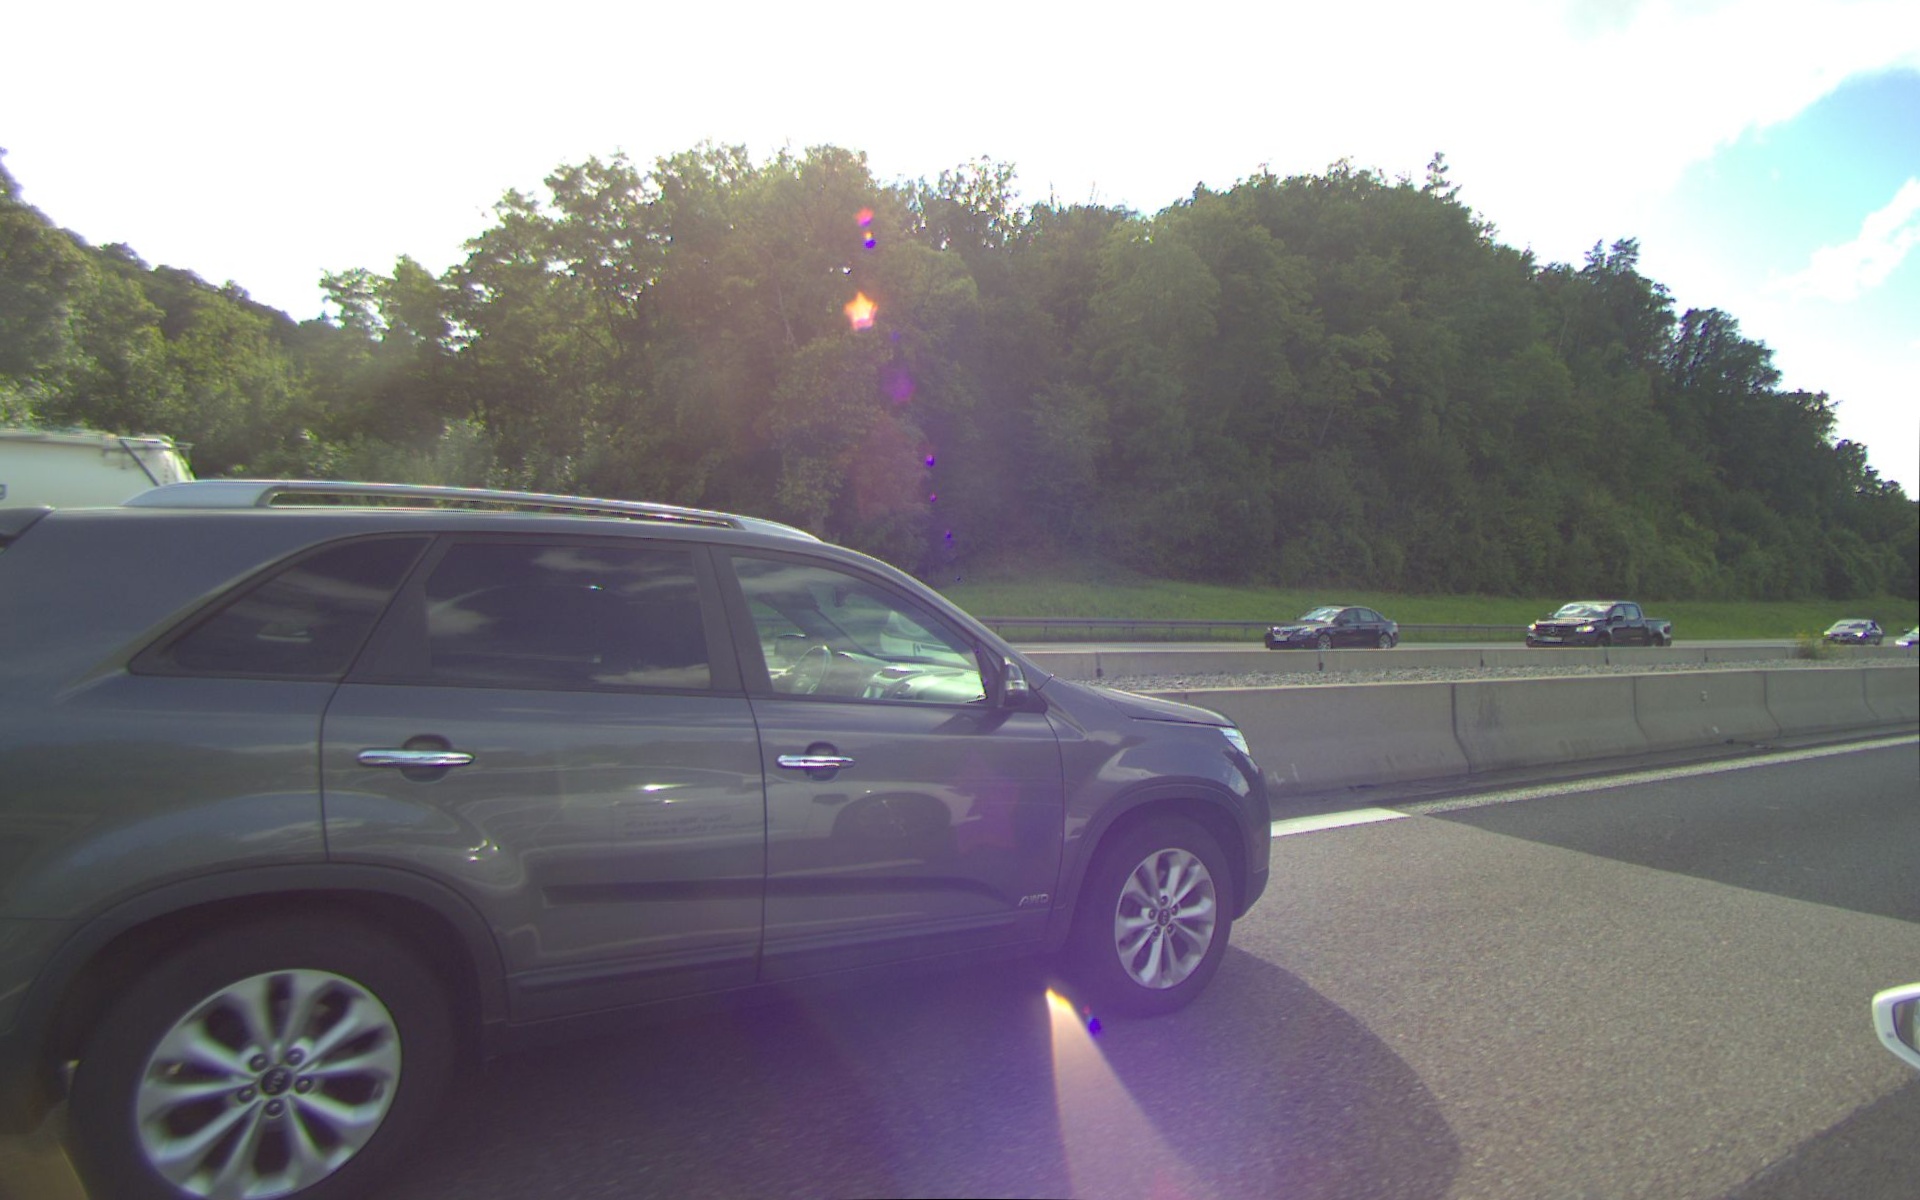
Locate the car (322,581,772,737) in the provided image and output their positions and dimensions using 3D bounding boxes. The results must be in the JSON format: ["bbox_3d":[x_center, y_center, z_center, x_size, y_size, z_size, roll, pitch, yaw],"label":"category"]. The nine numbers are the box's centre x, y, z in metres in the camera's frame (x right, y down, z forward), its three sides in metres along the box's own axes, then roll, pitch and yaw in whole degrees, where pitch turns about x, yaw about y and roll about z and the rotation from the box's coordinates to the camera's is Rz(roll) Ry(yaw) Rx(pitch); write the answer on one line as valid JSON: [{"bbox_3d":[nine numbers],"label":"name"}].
[{"bbox_3d":[-4.608,0.598,11.545,4.485,1.497,1.758,1,0,-30],"label":"car"}]

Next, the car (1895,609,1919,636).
[{"bbox_3d":[77.130,1.803,80.795,3.958,2.061,1.981,1,0,-34],"label":"car"}]

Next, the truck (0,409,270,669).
[{"bbox_3d":[-19.348,-1.096,15.892,13.520,4.181,3.433,2,0,-31],"label":"truck"}]

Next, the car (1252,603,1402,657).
[{"bbox_3d":[10.966,0.891,29.968,4.291,1.484,1.891,1,0,-30],"label":"car"}]

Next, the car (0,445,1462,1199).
[{"bbox_3d":[-0.589,0.598,3.716,5.124,1.759,1.809,1,0,-29],"label":"car"}]

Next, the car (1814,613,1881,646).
[{"bbox_3d":[47.410,1.559,53.624,4.149,1.661,1.715,1,0,-35],"label":"car"}]

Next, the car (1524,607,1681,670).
[{"bbox_3d":[18.790,1.087,29.320,4.987,1.636,2.024,1,0,-34],"label":"car"}]

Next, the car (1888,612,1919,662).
[{"bbox_3d":[33.635,1.288,34.391,4.437,1.628,1.790,1,0,-35],"label":"car"}]
